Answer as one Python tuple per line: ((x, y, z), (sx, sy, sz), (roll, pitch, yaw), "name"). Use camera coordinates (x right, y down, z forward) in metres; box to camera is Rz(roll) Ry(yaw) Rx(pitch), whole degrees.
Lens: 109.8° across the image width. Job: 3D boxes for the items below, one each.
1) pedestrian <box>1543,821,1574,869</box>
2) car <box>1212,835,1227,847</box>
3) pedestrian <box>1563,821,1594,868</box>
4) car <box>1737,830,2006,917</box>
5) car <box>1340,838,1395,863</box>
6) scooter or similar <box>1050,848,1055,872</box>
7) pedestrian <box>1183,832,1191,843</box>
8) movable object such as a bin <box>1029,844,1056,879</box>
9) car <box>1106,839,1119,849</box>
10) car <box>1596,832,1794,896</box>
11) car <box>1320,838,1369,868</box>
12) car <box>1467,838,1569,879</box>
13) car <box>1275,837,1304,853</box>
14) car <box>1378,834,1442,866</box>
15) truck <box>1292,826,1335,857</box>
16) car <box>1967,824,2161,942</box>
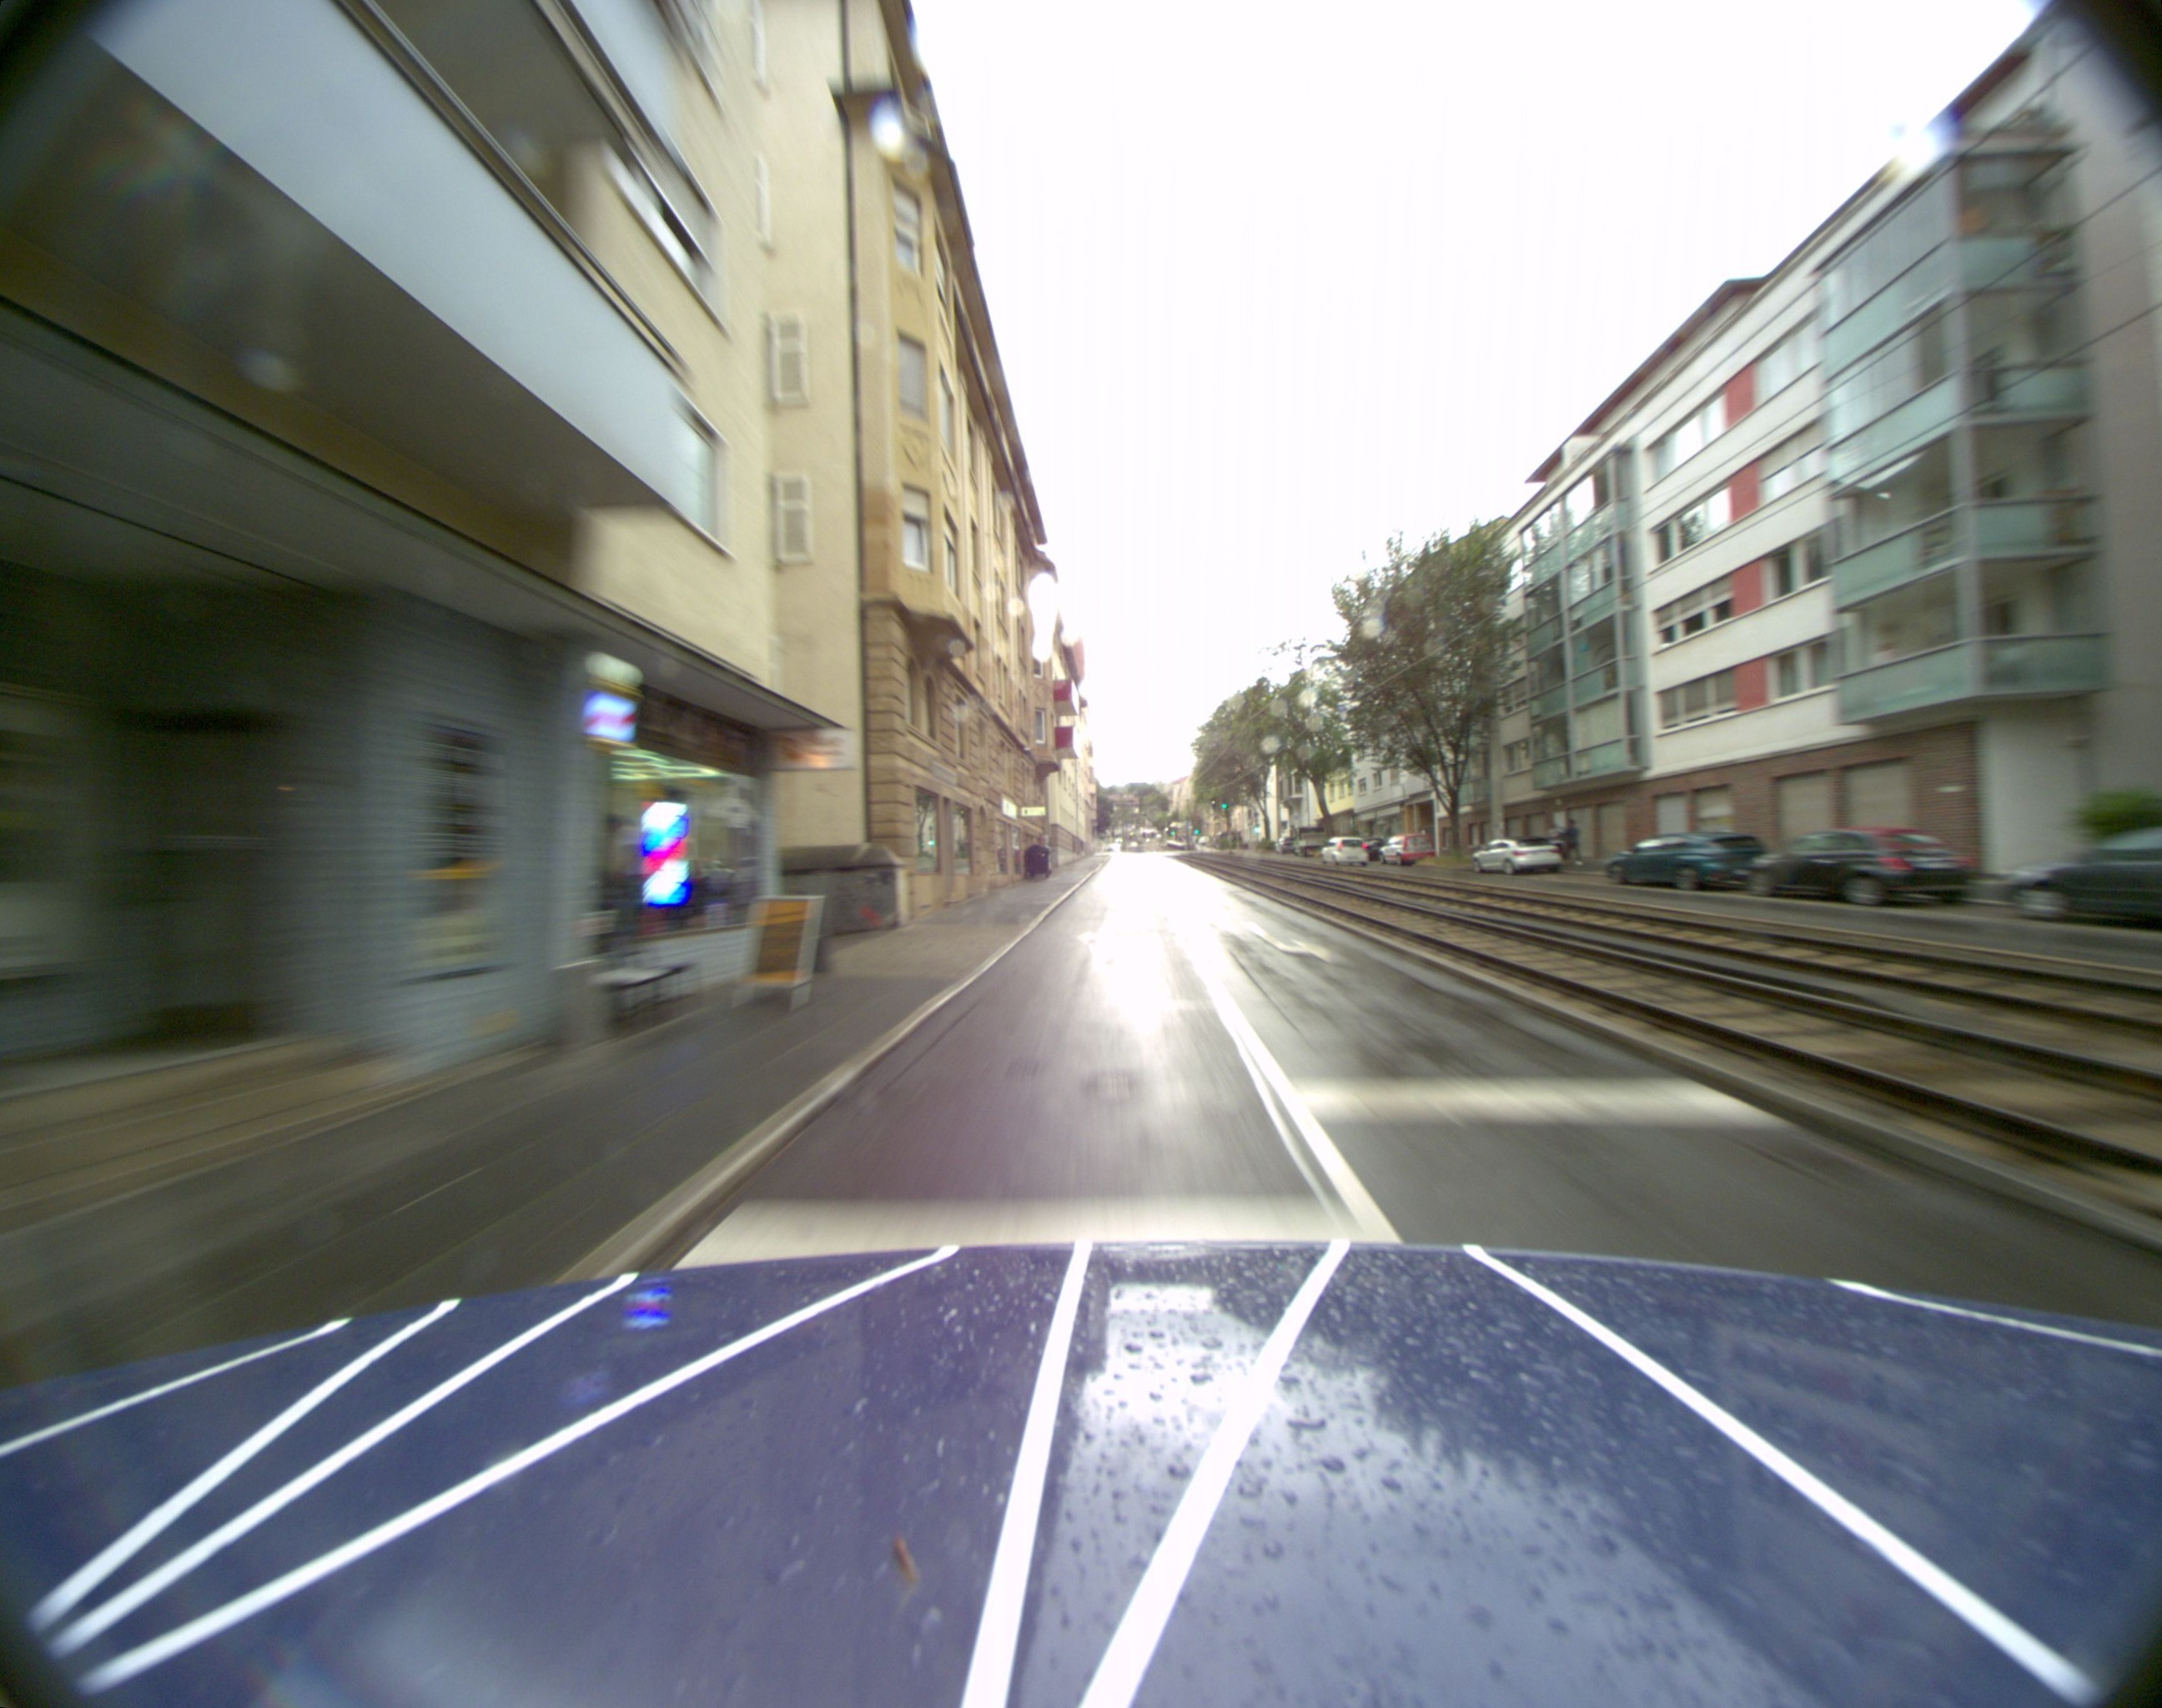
((18.195, -0.351, 28.966), (0.675, 1.762, 0.782), (-2, 2, 4), "pedestrian")
((23.521, -2.189, 129.135), (1.998, 2.002, 4.001), (-1, 1, 5), "car")
((18.916, -0.363, 28.890), (0.675, 1.762, 0.782), (-2, 2, 4), "pedestrian")
((15.632, 0.325, 15.325), (1.811, 1.490, 3.526), (-2, 1, 1), "car")
((17.785, -0.274, 47.410), (1.910, 1.432, 4.469), (-1, 1, 3), "car")
((-1.403, 0.291, 37.707), (0.210, 1.105, 0.890), (0, 3, -6), "scooter or similar")
((17.443, -2.739, 125.048), (1.119, 1.773, 0.965), (-1, 2, 4), "pedestrian")
((-1.664, 0.307, 33.122), (1.011, 1.443, 1.393), (1, 1, 4), "movable object such as a bin")
((5.041, -1.606, 121.078), (1.998, 1.652, 4.000), (-1, 1, 3), "car")
((15.860, 0.216, 19.985), (1.805, 1.446, 4.431), (-2, 1, 3), "car")
((14.014, -0.087, 40.558), (1.630, 1.473, 3.581), (-1, 1, 5), "car")
((16.501, 0.124, 28.918), (1.706, 1.328, 4.130), (-4, 1, 4), "car")
((19.576, -0.861, 71.481), (1.708, 1.452, 4.361), (-3, 1, 4), "car")
((17.325, -0.244, 40.204), (1.780, 1.560, 4.159), (-1, 1, 3), "car")
((18.738, -1.058, 61.539), (2.196, 2.333, 6.352), (-1, 2, 6), "truck")
((15.249, 0.370, 10.419), (1.769, 1.544, 3.895), (-2, 1, 3), "car")
